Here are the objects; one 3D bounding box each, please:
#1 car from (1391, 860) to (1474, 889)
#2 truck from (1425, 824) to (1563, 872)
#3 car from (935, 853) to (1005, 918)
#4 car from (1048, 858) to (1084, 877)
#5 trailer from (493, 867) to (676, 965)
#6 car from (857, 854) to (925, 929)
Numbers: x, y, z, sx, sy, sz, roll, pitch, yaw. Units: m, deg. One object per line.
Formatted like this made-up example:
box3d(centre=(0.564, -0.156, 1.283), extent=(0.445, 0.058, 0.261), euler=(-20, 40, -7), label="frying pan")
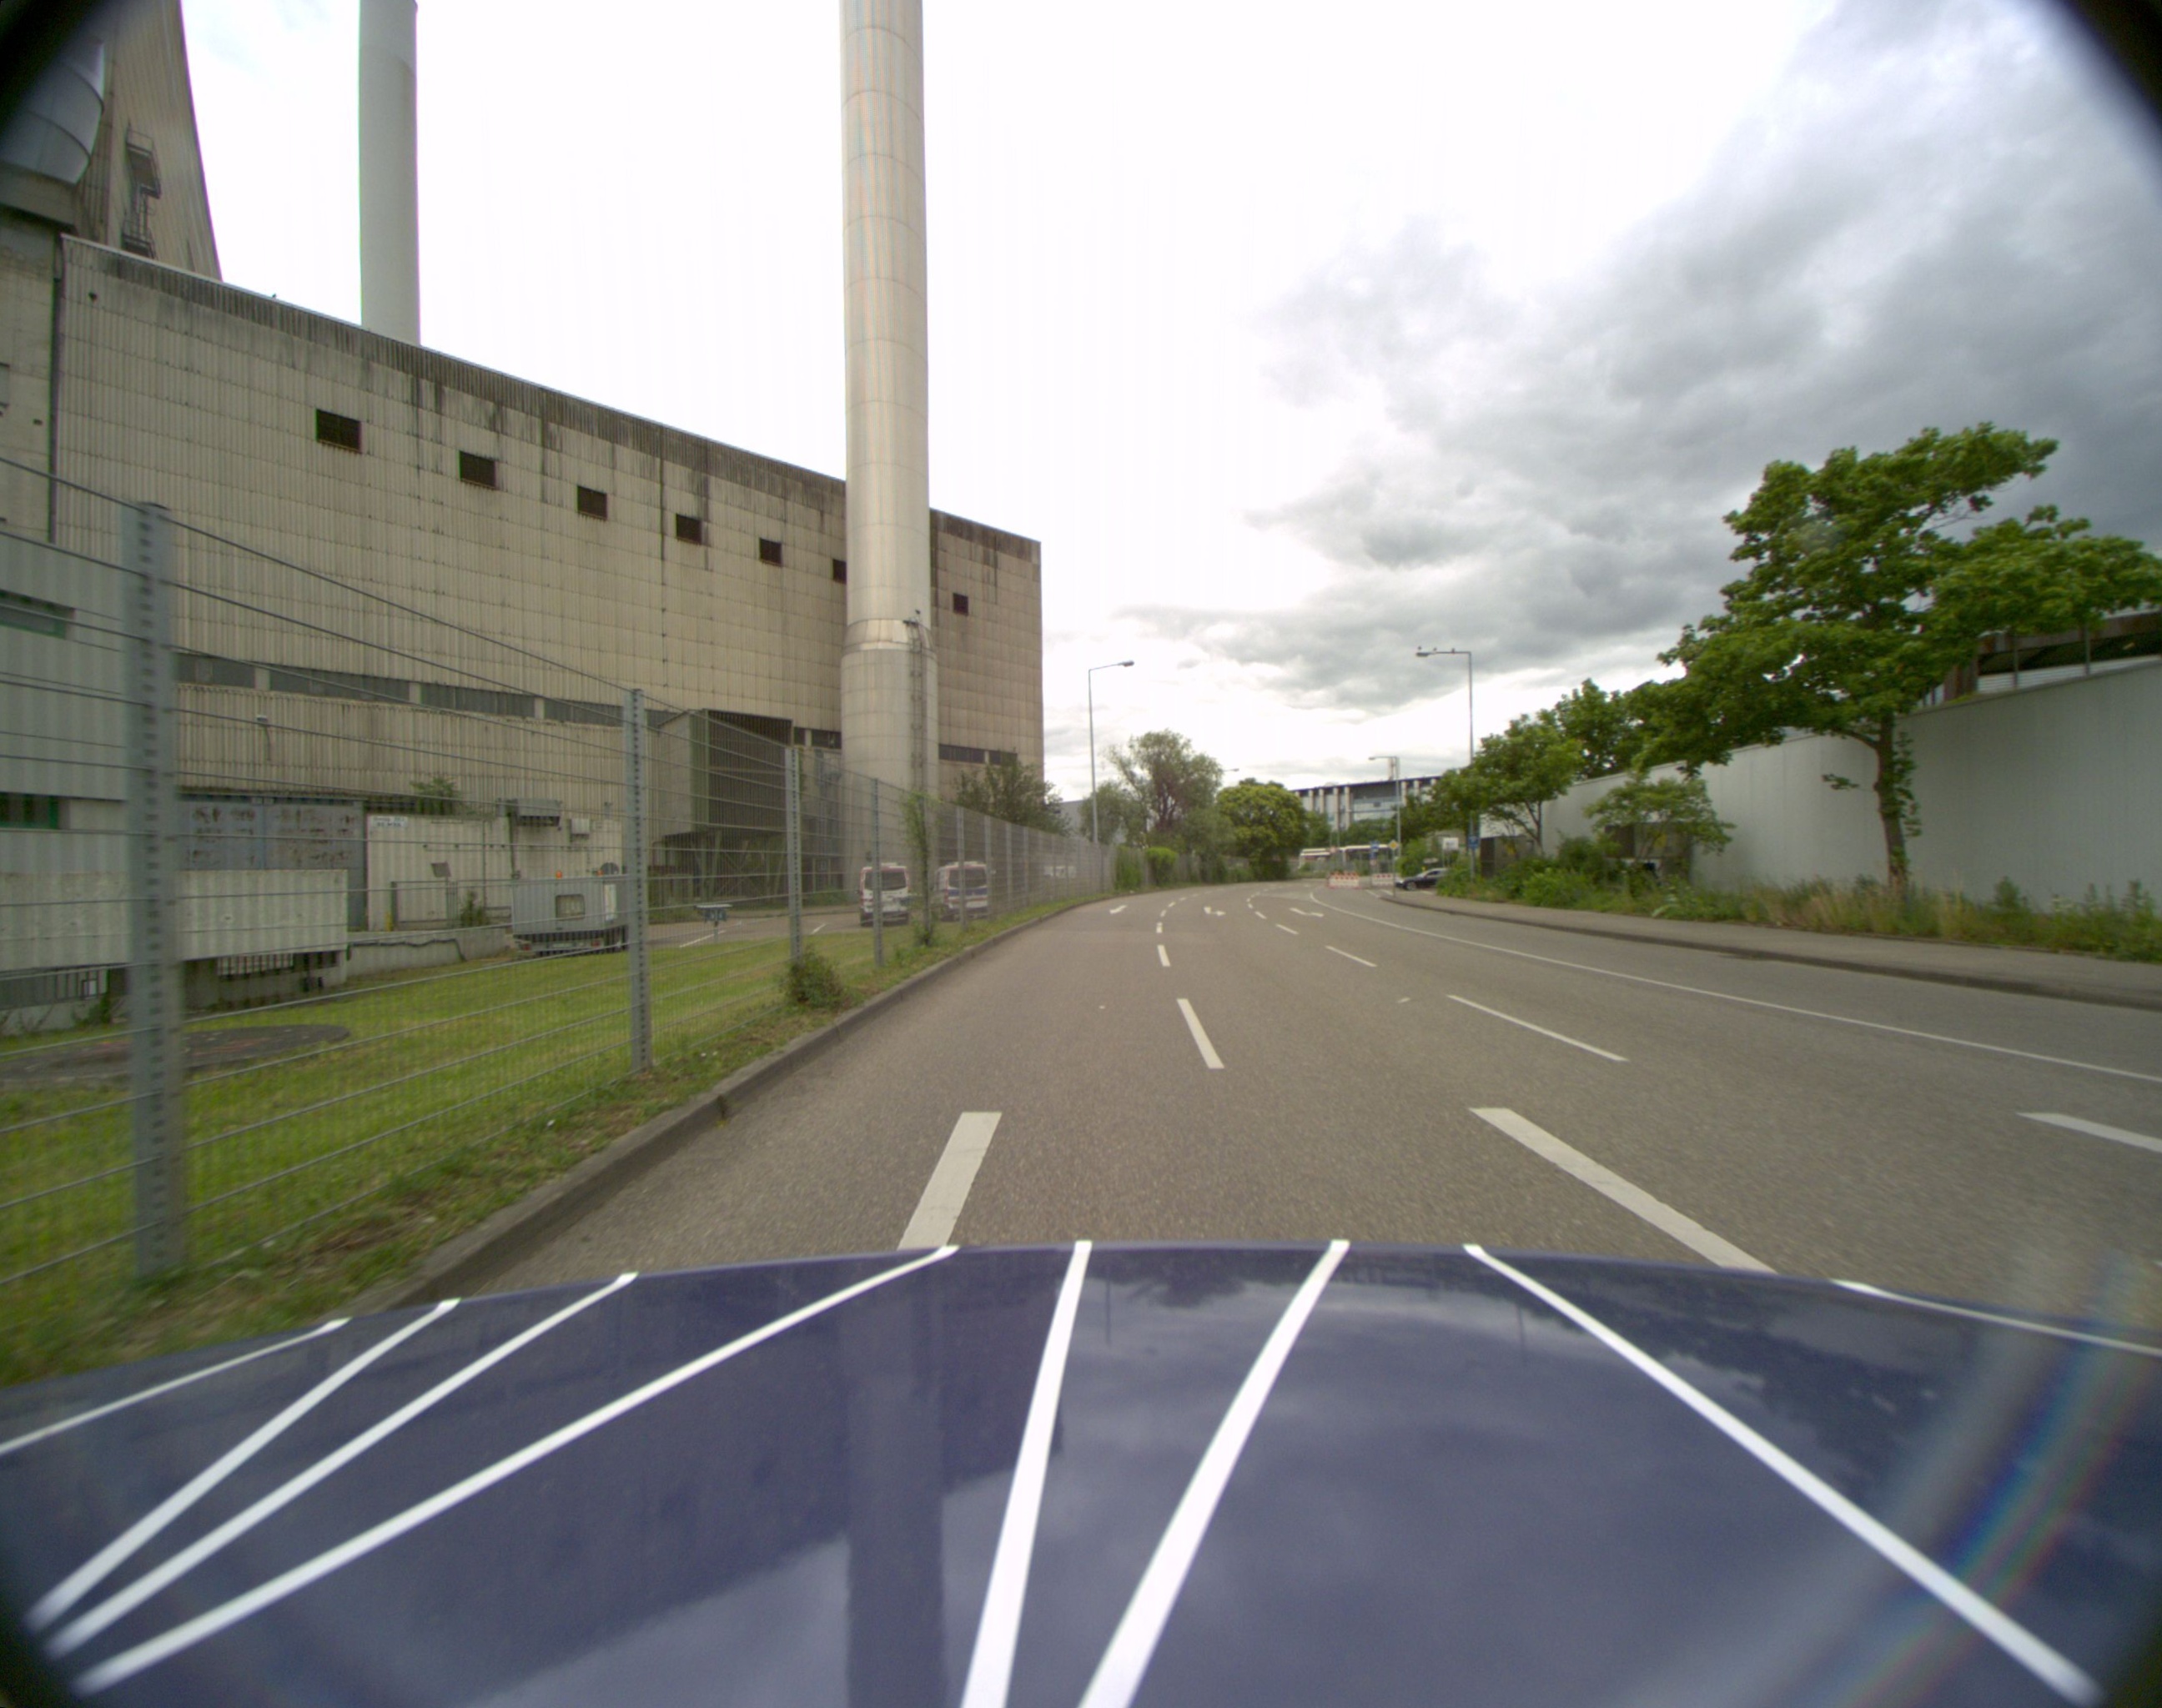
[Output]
box3d(centre=(23.298, 1.353, 50.525), extent=(4.614, 1.799, 2.002), euler=(-2, -1, 13), label="car")
box3d(centre=(32.810, -0.427, 60.784), extent=(9.262, 3.574, 2.935), euler=(-1, 0, 14), label="truck")
box3d(centre=(-4.995, 1.398, 33.397), extent=(2.240, 2.531, 5.186), euler=(-2, -2, -17), label="car")
box3d(centre=(-1.999, 1.772, 102.902), extent=(1.995, 2.353, 5.850), euler=(-2, -1, 30), label="car")
box3d(centre=(-15.175, 1.747, 23.854), extent=(2.665, 2.528, 6.427), euler=(-2, -1, -13), label="trailer")
box3d(centre=(-7.991, 1.562, 31.646), extent=(2.429, 2.745, 5.449), euler=(-2, -2, -16), label="car")
